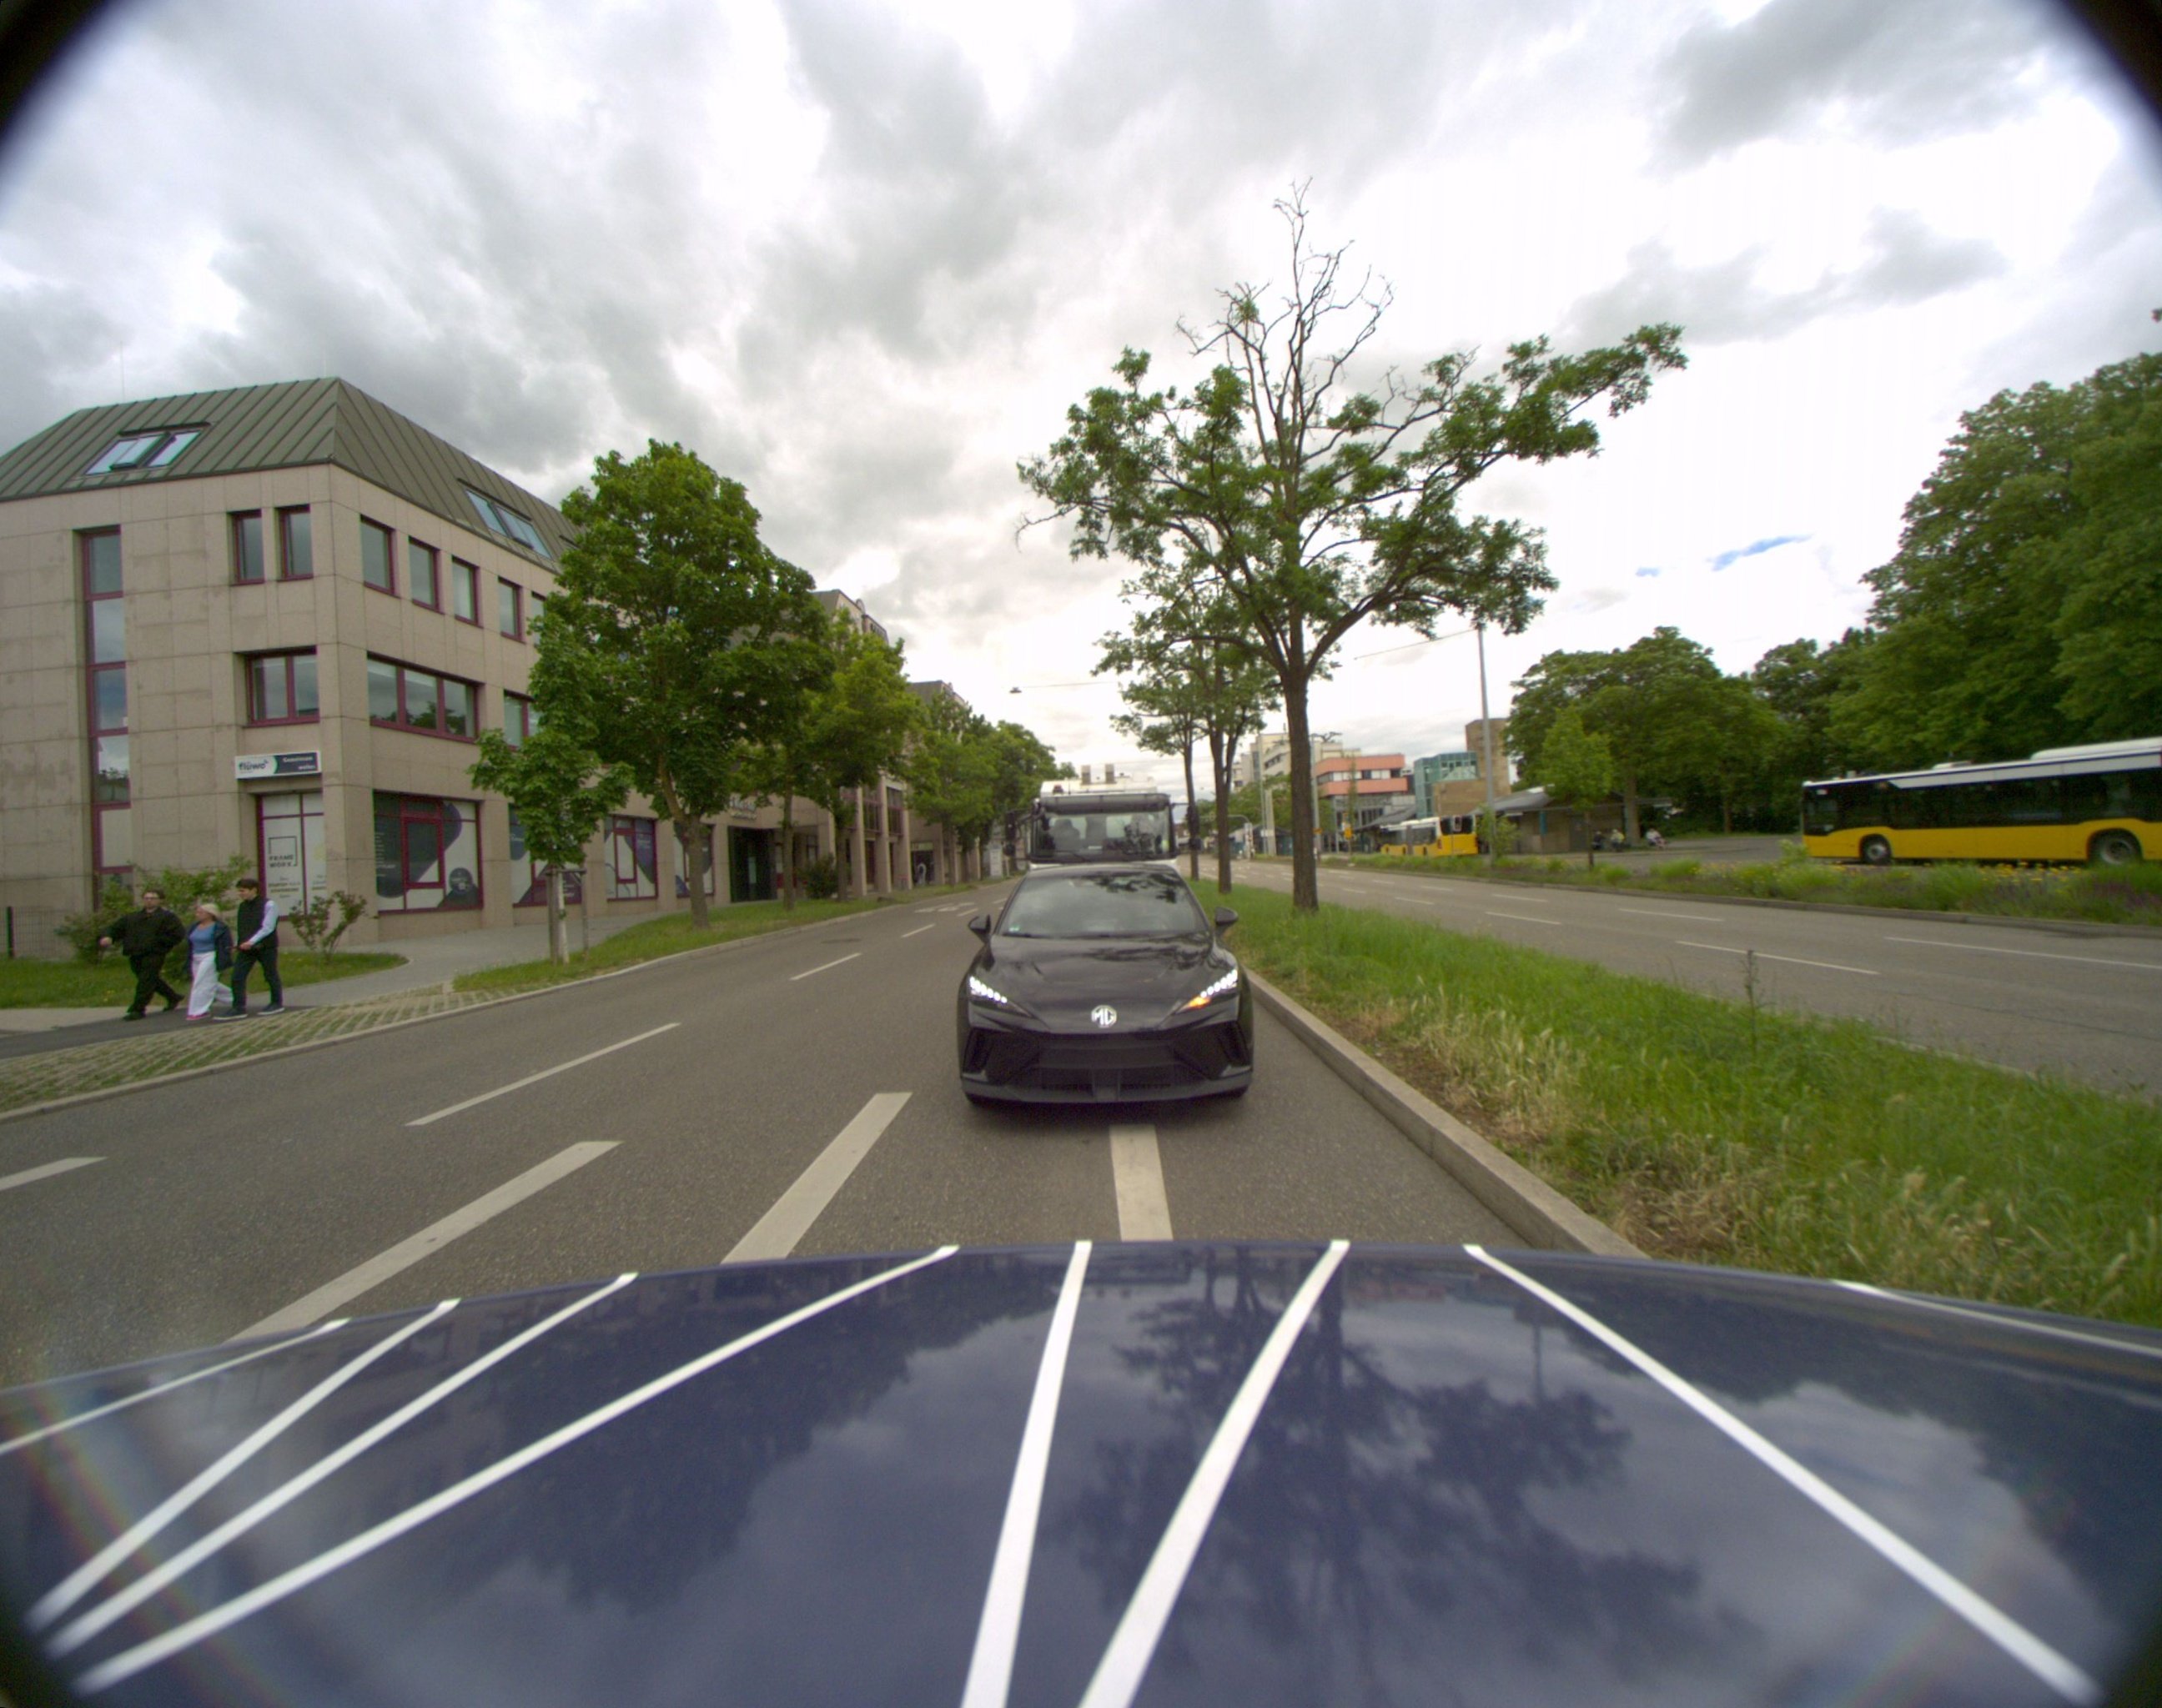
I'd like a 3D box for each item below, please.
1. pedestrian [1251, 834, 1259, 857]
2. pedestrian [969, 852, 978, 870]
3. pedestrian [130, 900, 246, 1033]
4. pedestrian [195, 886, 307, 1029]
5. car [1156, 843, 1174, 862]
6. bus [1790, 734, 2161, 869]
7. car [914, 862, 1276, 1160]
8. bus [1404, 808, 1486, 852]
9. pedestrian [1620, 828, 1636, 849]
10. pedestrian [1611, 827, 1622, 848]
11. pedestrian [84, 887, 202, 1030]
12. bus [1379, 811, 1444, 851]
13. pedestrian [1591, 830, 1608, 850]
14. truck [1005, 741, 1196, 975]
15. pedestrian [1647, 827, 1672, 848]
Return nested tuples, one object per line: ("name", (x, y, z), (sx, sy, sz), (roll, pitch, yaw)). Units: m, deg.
("pedestrian", (21.700, -1.055, 94.666), (0.903, 2.772, 1.148), (-2, 1, 13))
("pedestrian", (-10.886, 0.718, 76.984), (0.719, 1.737, 0.832), (-2, 1, 1))
("pedestrian", (-11.800, 1.465, 10.061), (0.642, 1.637, 0.677), (-3, 1, 1))
("pedestrian", (-11.088, 1.359, 10.171), (0.642, 1.795, 0.677), (-3, 1, 1))
("car", (9.553, -0.181, 86.759), (1.726, 2.002, 4.001), (-3, 0, 3))
("bus", (25.947, -1.260, 21.444), (2.888, 2.985, 10.397), (-3, 0, 6))
("car", (0.104, 0.846, 5.975), (1.827, 1.430, 4.000), (-3, 0, 1))
("bus", (26.274, -1.621, 55.381), (2.887, 2.793, 9.181), (-3, 0, 9))
("pedestrian", (30.827, -0.878, 42.790), (0.598, 1.155, 0.744), (-2, 1, 26))
("pedestrian", (30.356, -0.916, 43.073), (0.367, 1.160, 0.899), (-2, 1, 26))
("pedestrian", (-12.577, 1.375, 10.210), (0.642, 1.795, 0.677), (-3, 1, 1))
("bus", (27.659, -1.838, 64.032), (2.887, 2.985, 9.182), (-3, 0, 10))
("pedestrian", (30.716, -0.836, 45.021), (0.599, 1.155, 0.743), (-2, 1, 18))
("truck", (0.327, 0.046, 14.395), (2.544, 3.187, 7.368), (-3, 0, 1))
("pedestrian", (32.091, -0.905, 42.180), (0.650, 1.165, 0.925), (-2, 1, 1))
